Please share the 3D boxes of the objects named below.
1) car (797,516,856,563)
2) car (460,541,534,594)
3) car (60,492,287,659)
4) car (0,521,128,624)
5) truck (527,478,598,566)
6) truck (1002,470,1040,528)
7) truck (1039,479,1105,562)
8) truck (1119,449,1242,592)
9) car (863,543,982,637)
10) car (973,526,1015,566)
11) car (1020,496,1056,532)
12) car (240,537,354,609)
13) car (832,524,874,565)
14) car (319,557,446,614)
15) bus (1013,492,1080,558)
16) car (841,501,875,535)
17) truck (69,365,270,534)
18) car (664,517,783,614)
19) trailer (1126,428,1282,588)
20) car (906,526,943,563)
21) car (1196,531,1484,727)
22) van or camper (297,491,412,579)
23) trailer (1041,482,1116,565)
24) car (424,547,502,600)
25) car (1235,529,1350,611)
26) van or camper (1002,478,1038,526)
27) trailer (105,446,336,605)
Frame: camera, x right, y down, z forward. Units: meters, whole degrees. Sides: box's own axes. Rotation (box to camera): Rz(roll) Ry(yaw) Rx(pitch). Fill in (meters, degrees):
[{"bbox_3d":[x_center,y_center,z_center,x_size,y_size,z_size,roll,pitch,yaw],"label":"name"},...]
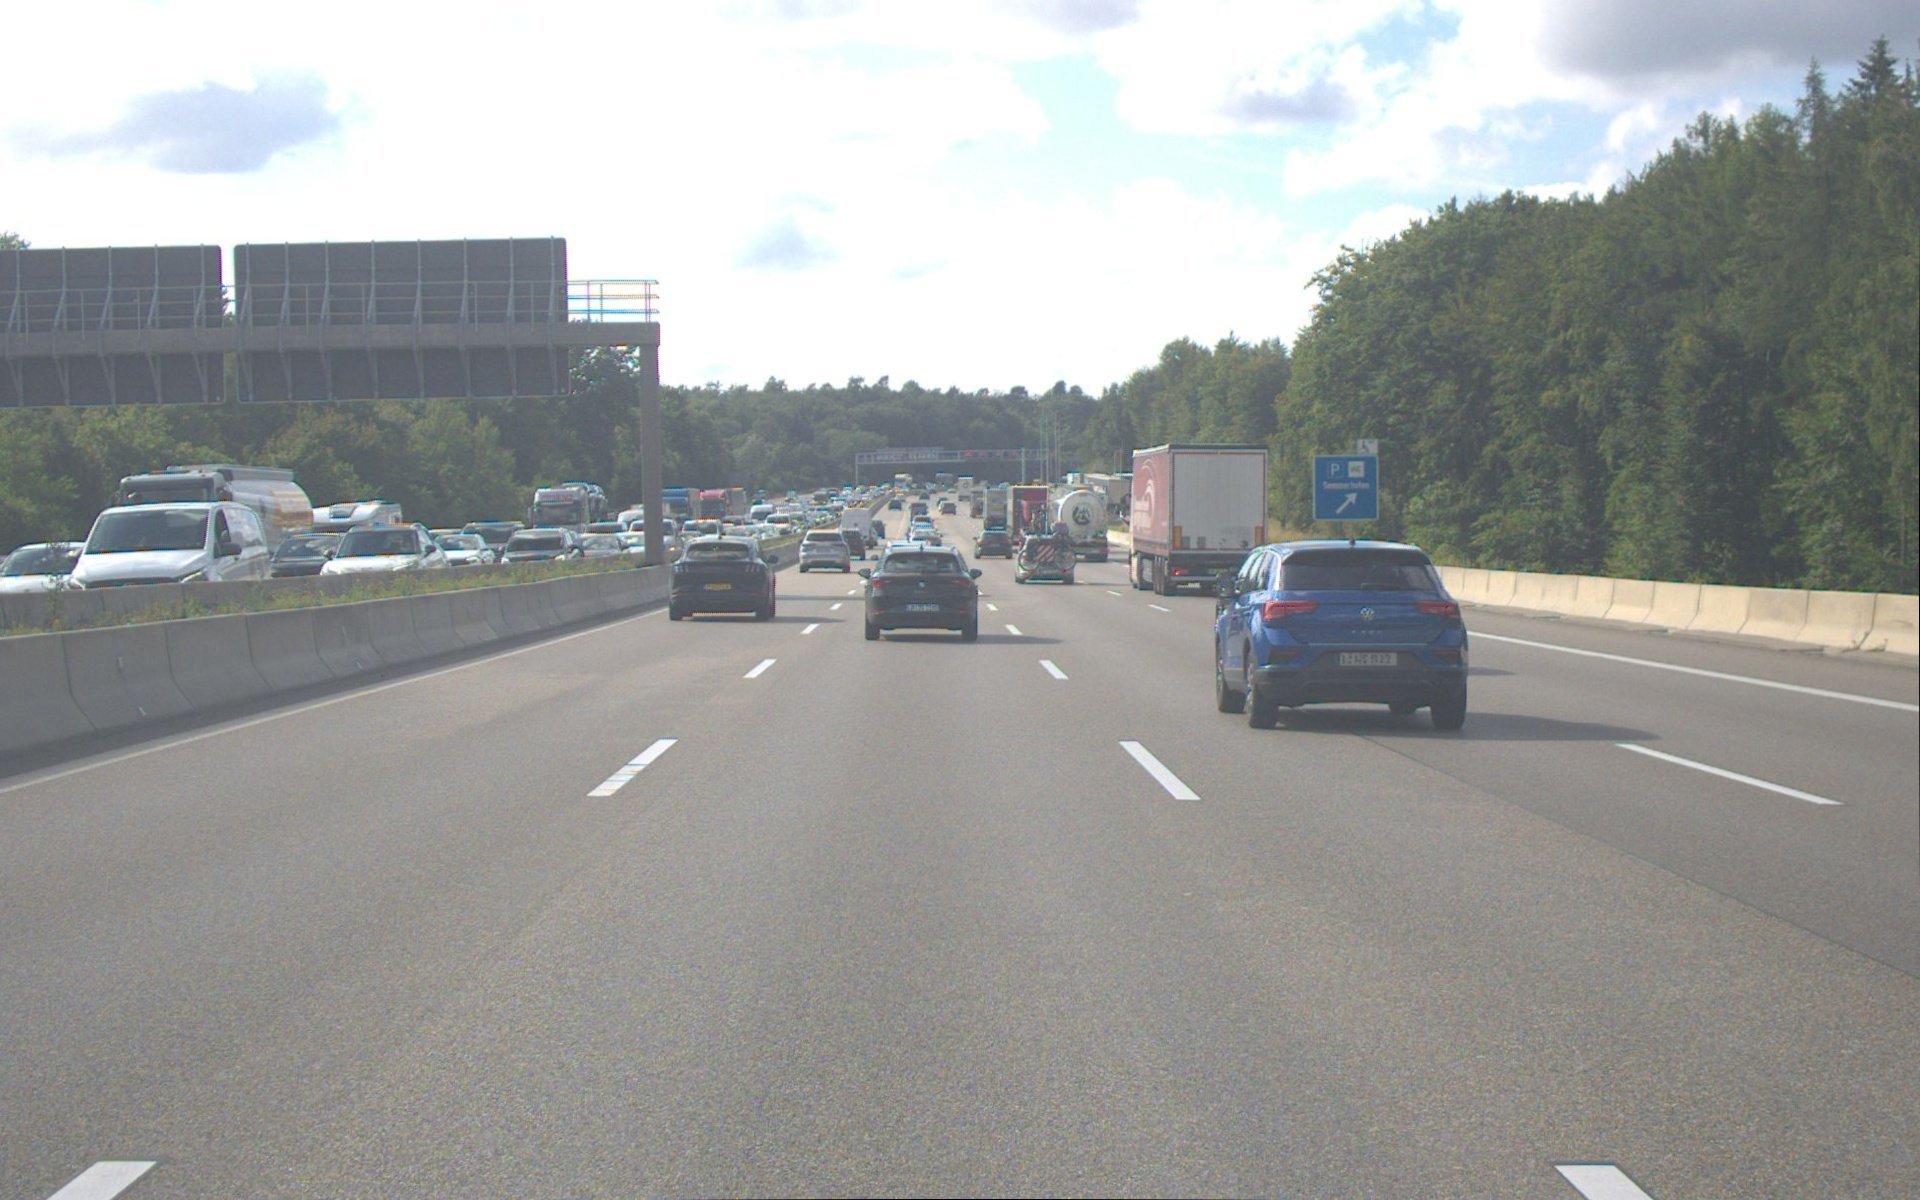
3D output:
[{"bbox_3d":[-5.159,-2.354,133.497,2.154,1.770,4.000,1,1,0],"label":"car"},{"bbox_3d":[-15.081,-1.076,112.197,1.800,1.626,4.663,2,1,-1],"label":"car"},{"bbox_3d":[-10.360,-0.364,45.672,1.832,2.055,5.501,-1,1,-1],"label":"car"},{"bbox_3d":[-14.447,-0.457,53.902,1.832,1.532,4.243,1,1,-1],"label":"car"},{"bbox_3d":[-19.680,-3.882,170.640,2.853,4.219,5.713,1,1,-1],"label":"truck"},{"bbox_3d":[4.024,-6.632,227.944,2.358,3.560,11.266,1,0,0],"label":"truck"},{"bbox_3d":[5.694,-4.058,176.577,3.045,4.146,7.127,0,1,-1],"label":"truck"},{"bbox_3d":[6.442,-2.284,101.387,3.080,4.049,6.070,1,0,-1],"label":"truck"},{"bbox_3d":[-0.618,-0.184,53.727,1.734,1.360,4.001,1,1,-2],"label":"car"},{"bbox_3d":[1.740,-2.765,175.427,1.993,2.007,4.000,1,1,-1],"label":"car"},{"bbox_3d":[4.593,-5.080,202.986,1.993,2.007,4.000,1,0,-1],"label":"car"},{"bbox_3d":[-15.004,-0.635,78.010,1.832,1.532,4.243,1,1,-1],"label":"car"},{"bbox_3d":[-5.289,-2.752,170.841,1.993,2.007,4.000,1,0,-1],"label":"car"},{"bbox_3d":[-10.440,-0.290,62.408,1.643,0.936,4.489,1,1,-1],"label":"car"},{"bbox_3d":[2.741,-2.386,110.278,1.993,2.007,4.000,1,0,0],"label":"bus"},{"bbox_3d":[-6.227,-5.031,211.131,1.993,2.007,4.000,1,1,-1],"label":"car"},{"bbox_3d":[-19.089,-3.569,83.447,3.416,3.887,6.802,0,1,-1],"label":"truck"},{"bbox_3d":[-4.456,-0.667,65.192,1.993,1.770,4.000,1,1,0],"label":"car"},{"bbox_3d":[6.548,-2.396,94.529,3.038,4.021,13.891,1,0,-1],"label":"trailer"},{"bbox_3d":[-1.977,-3.086,190.920,1.993,2.007,4.000,-1,0,-1],"label":"car"},{"bbox_3d":[3.162,0.225,29.509,1.924,1.536,4.645,0,0,0],"label":"car"},{"bbox_3d":[-18.899,-1.983,107.629,2.325,2.634,7.397,1,0,0],"label":"van or camper"},{"bbox_3d":[5.802,-3.757,170.401,3.036,4.002,12.246,0,1,-1],"label":"trailer"},{"bbox_3d":[-15.119,-0.827,104.714,1.832,1.532,4.243,1,1,-1],"label":"car"},{"bbox_3d":[6.310,-0.593,65.660,1.715,1.506,4.302,-1,1,-1],"label":"car"},{"bbox_3d":[4.115,-6.688,235.148,2.351,3.133,5.710,1,0,0],"label":"van or camper"},{"bbox_3d":[-19.230,-1.967,90.433,3.411,3.815,13.262,1,1,-1],"label":"trailer"}]
